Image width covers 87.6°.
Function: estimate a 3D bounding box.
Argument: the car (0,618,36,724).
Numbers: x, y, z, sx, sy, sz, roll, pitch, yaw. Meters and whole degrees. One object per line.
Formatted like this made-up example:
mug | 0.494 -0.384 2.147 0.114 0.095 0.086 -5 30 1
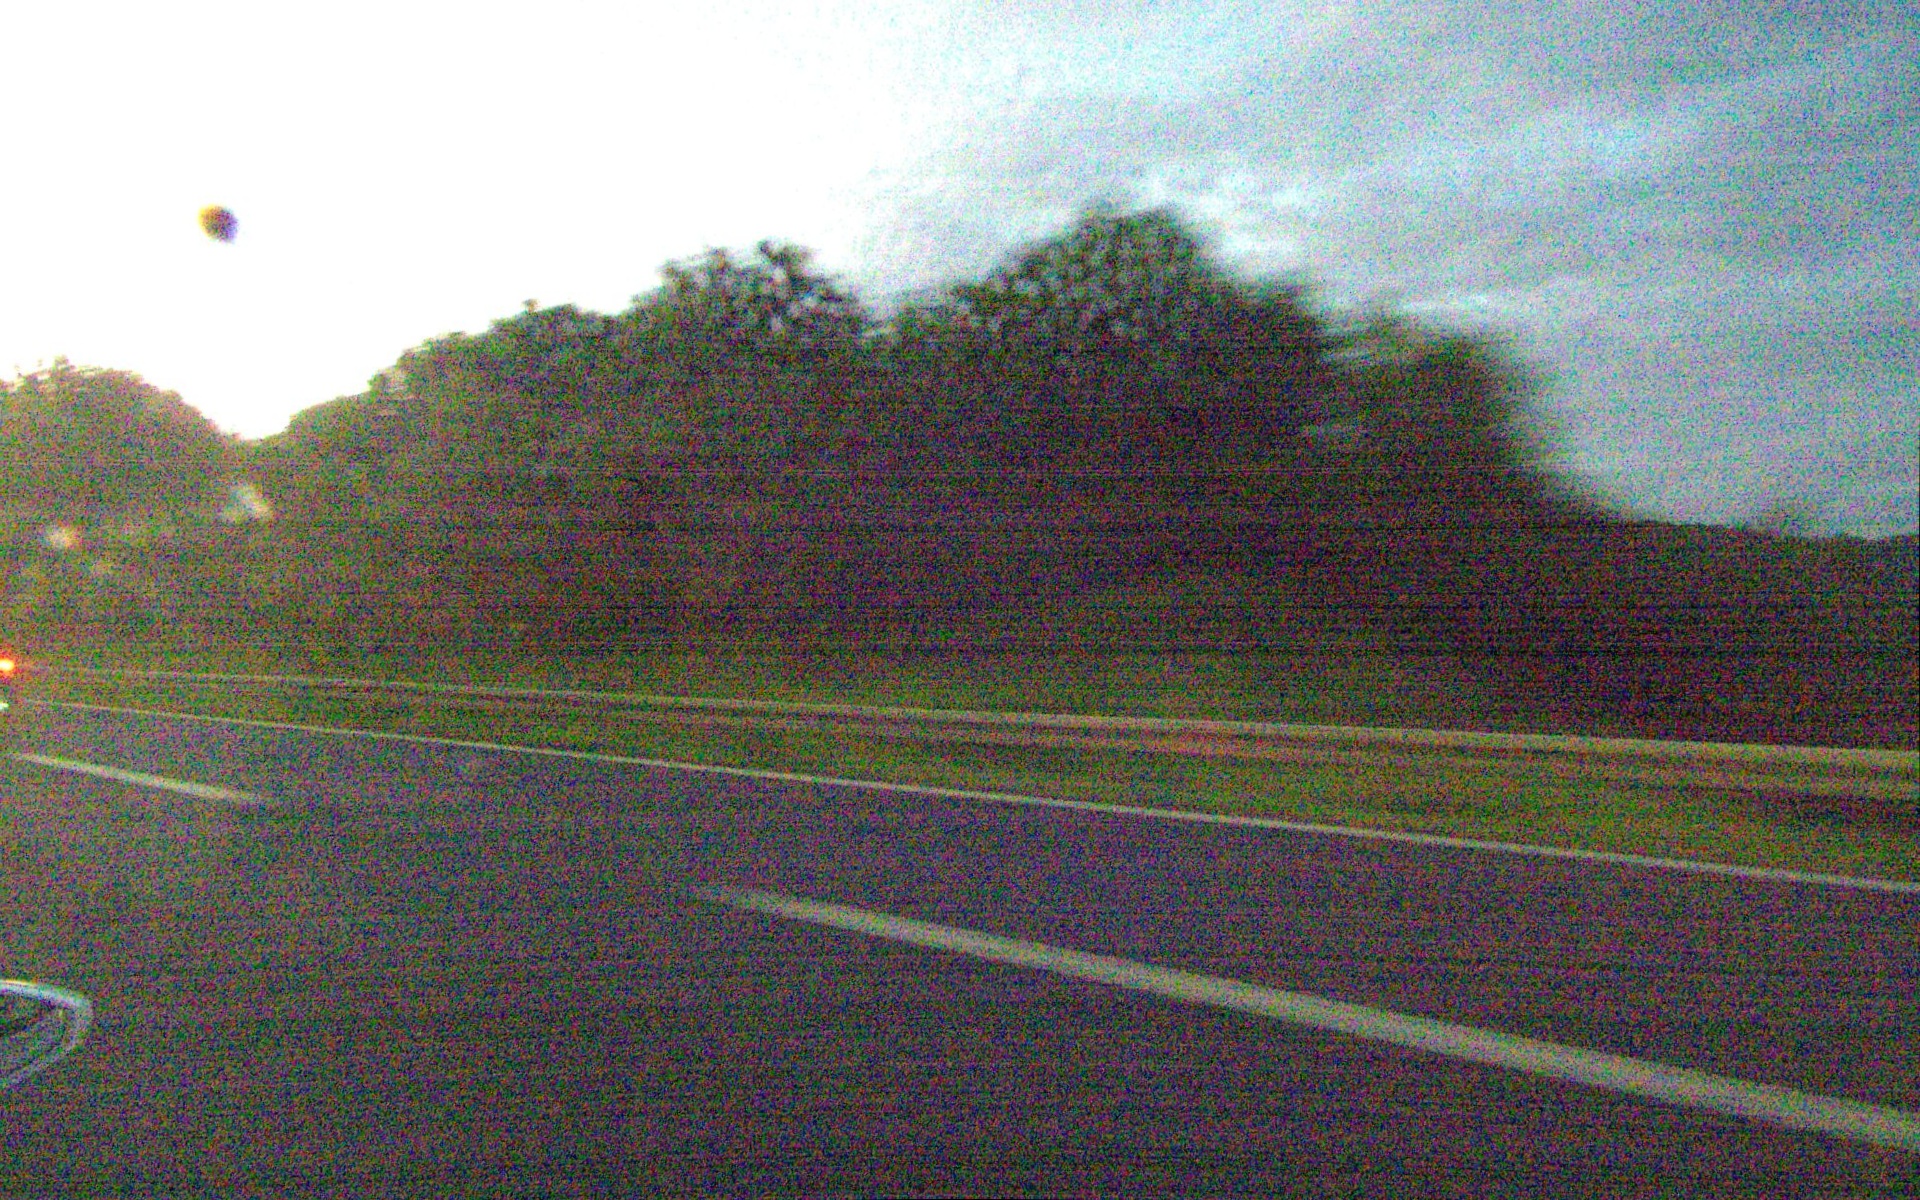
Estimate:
car | -15.806 1.064 15.282 3.269 1.575 1.609 -1 -2 30
